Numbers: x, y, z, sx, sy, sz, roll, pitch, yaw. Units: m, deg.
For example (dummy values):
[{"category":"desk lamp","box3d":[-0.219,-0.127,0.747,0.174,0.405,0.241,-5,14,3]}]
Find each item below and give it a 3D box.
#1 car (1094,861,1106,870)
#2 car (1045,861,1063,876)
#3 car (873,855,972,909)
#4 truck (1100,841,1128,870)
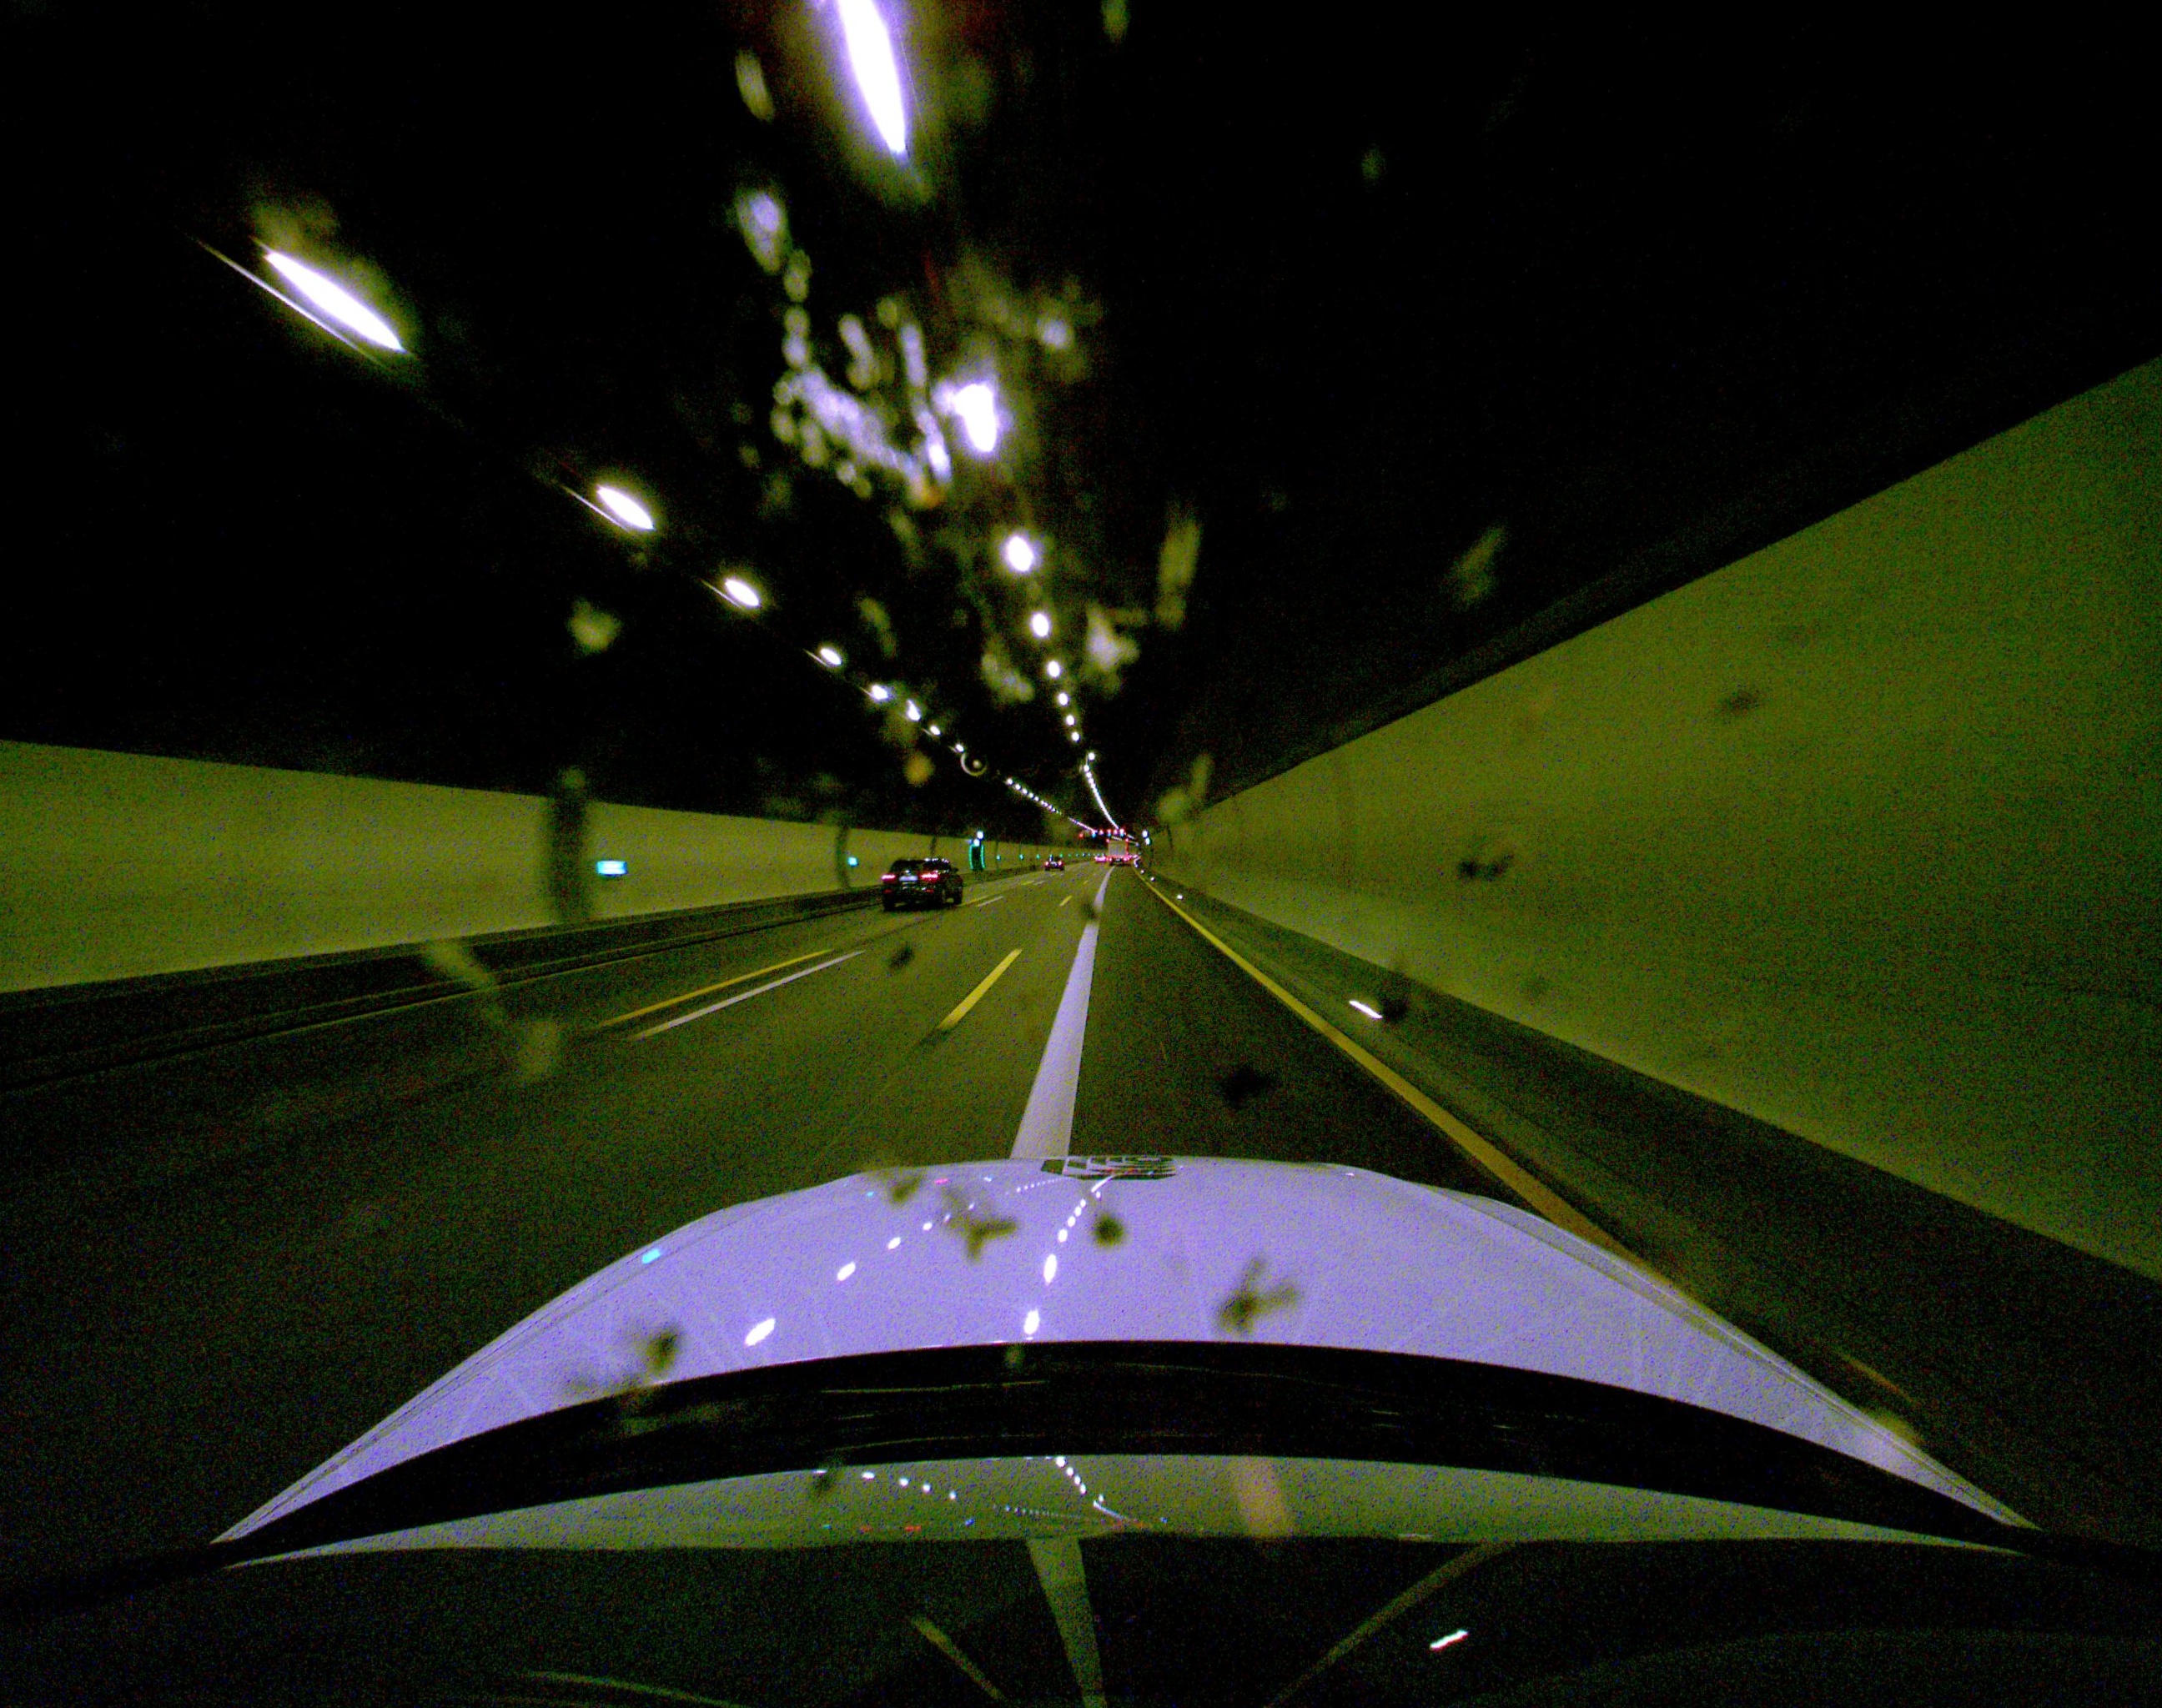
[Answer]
[{"category":"car","box3d":[3.266,1.897,139.269,1.986,1.413,4.743,-1,0,1]},{"category":"car","box3d":[-2.667,1.446,80.539,1.684,1.417,3.922,-1,0,0]},{"category":"car","box3d":[-4.872,0.839,25.723,1.985,1.540,4.745,-1,-1,2]},{"category":"truck","box3d":[4.491,0.187,110.691,3.579,3.650,10.726,-1,0,2]}]
